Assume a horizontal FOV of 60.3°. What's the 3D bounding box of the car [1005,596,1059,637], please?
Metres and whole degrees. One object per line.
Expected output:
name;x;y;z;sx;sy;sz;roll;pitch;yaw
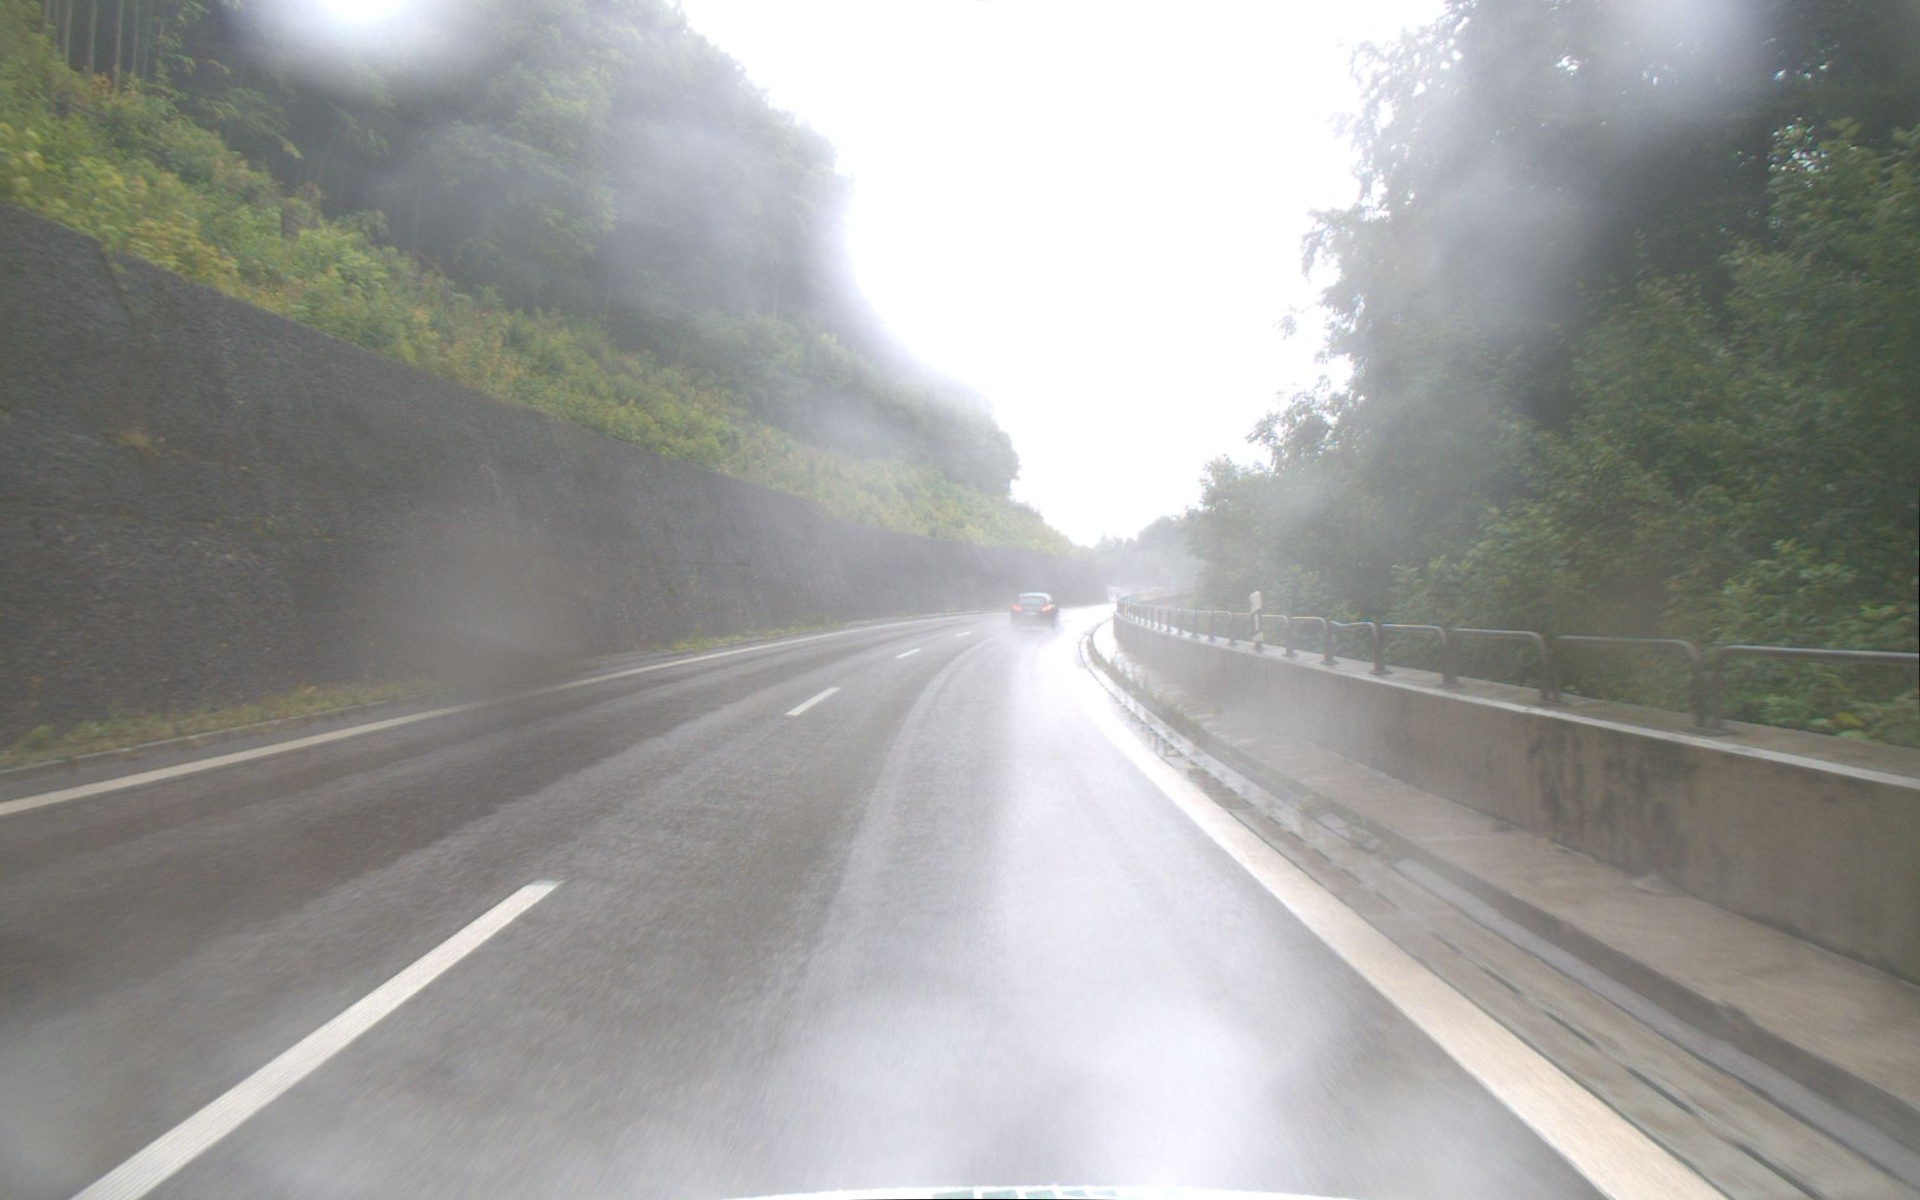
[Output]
car;2.883;0.623;65.941;1.863;1.525;4.003;-1;0;6
